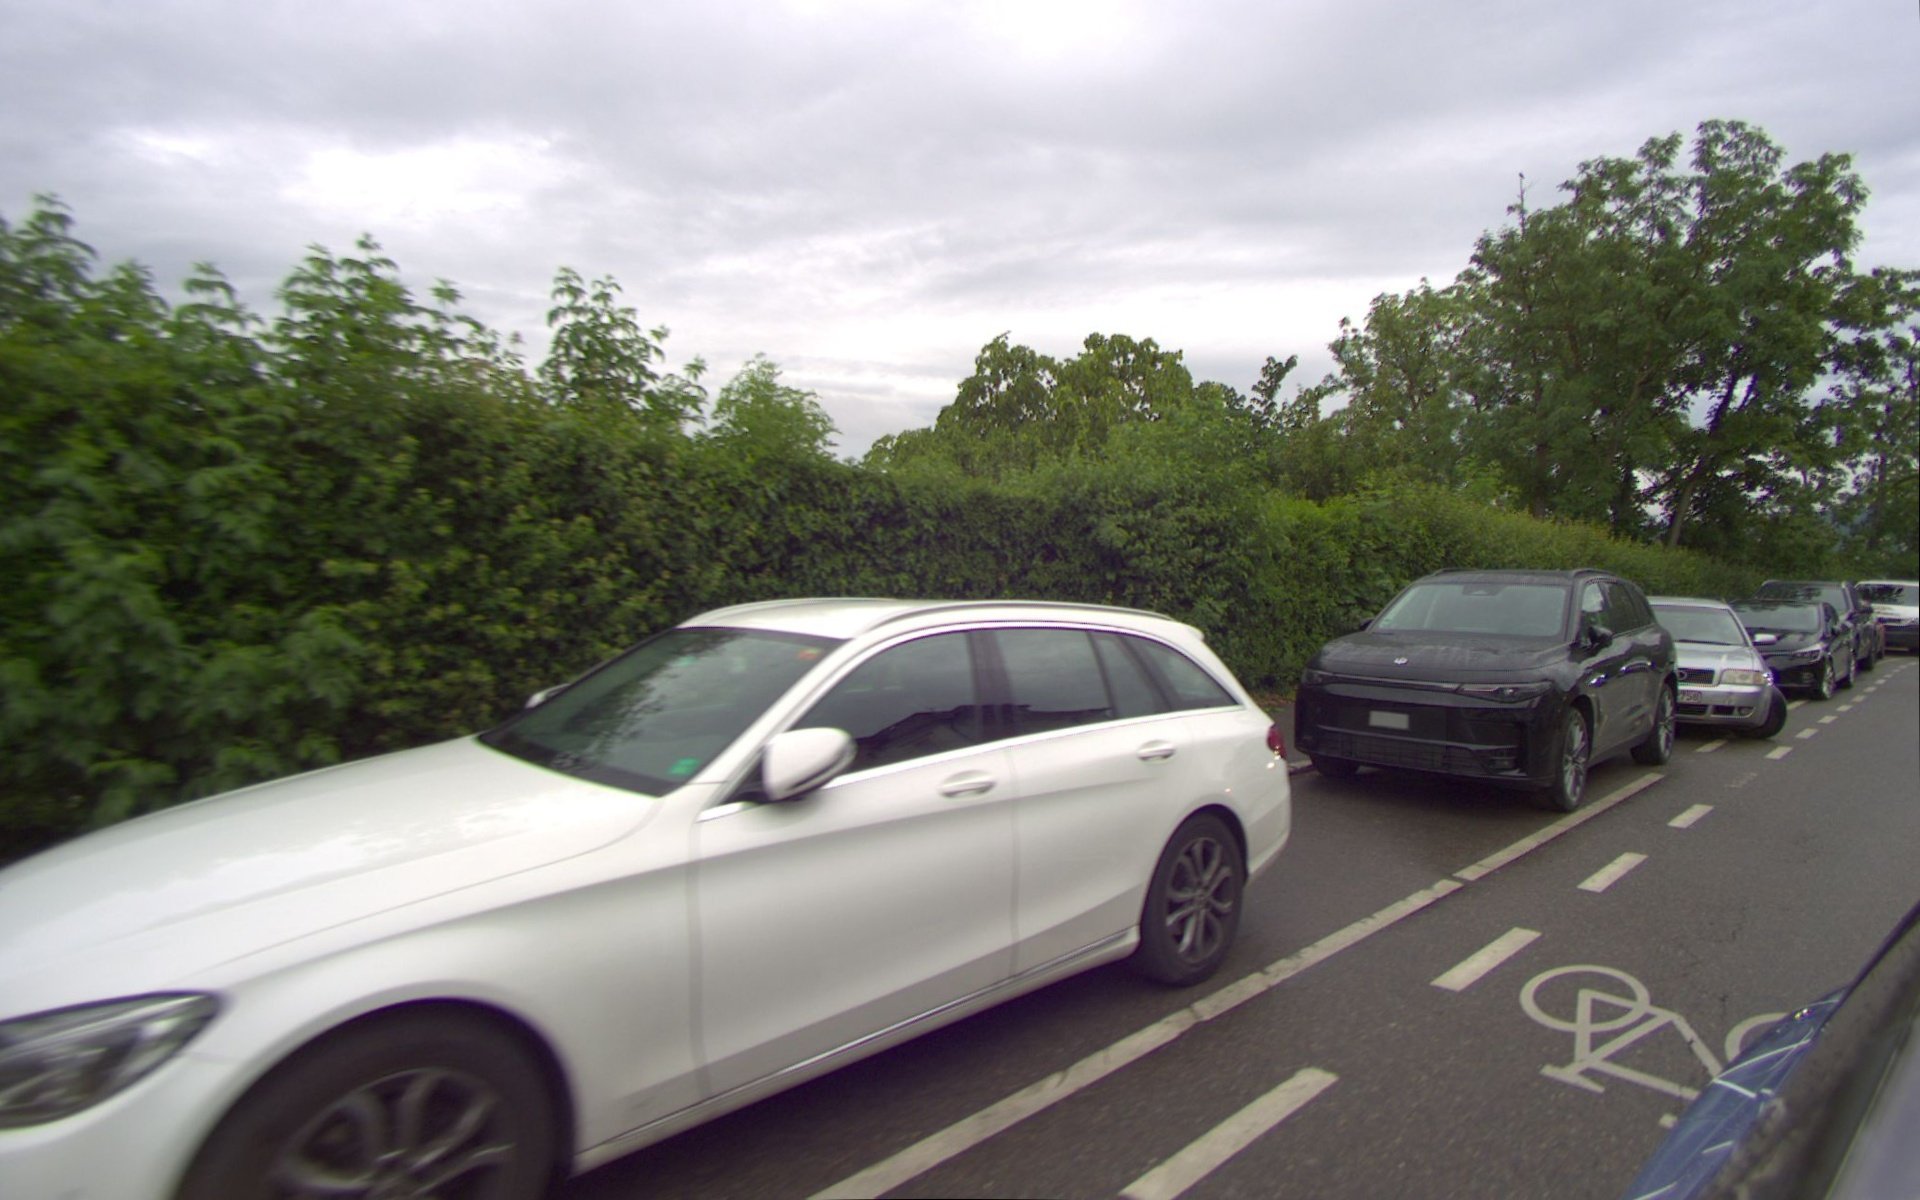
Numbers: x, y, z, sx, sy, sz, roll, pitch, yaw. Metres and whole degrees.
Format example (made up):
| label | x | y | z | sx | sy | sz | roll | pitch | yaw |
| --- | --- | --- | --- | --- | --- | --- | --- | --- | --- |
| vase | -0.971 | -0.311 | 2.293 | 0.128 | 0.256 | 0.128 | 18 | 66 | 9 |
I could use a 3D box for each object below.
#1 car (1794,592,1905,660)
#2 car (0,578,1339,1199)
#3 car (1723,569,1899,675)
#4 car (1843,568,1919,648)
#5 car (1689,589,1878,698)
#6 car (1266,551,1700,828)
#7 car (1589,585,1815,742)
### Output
| label | x | y | z | sx | sy | sz | roll | pitch | yaw |
| --- | --- | --- | --- | --- | --- | --- | --- | --- | --- |
| car | 21.185 | 0.566 | 24.064 | 3.681 | 1.431 | 1.673 | 0 | 2 | -44 |
| car | -0.563 | 0.673 | 3.529 | 4.530 | 1.423 | 1.715 | 0 | 1 | -43 |
| car | 17.009 | 0.383 | 20.139 | 4.815 | 1.805 | 2.030 | 1 | 2 | -42 |
| car | 26.028 | 0.218 | 27.553 | 4.716 | 1.971 | 1.867 | 1 | 3 | -36 |
| car | 13.083 | 0.586 | 16.005 | 3.915 | 1.439 | 1.691 | -1 | 3 | -42 |
| car | 4.532 | 0.526 | 8.403 | 4.473 | 1.683 | 1.888 | 0 | 1 | -44 |
| car | 8.620 | 0.591 | 12.054 | 1.792 | 1.458 | 4.587 | 2 | 1 | 33 |
